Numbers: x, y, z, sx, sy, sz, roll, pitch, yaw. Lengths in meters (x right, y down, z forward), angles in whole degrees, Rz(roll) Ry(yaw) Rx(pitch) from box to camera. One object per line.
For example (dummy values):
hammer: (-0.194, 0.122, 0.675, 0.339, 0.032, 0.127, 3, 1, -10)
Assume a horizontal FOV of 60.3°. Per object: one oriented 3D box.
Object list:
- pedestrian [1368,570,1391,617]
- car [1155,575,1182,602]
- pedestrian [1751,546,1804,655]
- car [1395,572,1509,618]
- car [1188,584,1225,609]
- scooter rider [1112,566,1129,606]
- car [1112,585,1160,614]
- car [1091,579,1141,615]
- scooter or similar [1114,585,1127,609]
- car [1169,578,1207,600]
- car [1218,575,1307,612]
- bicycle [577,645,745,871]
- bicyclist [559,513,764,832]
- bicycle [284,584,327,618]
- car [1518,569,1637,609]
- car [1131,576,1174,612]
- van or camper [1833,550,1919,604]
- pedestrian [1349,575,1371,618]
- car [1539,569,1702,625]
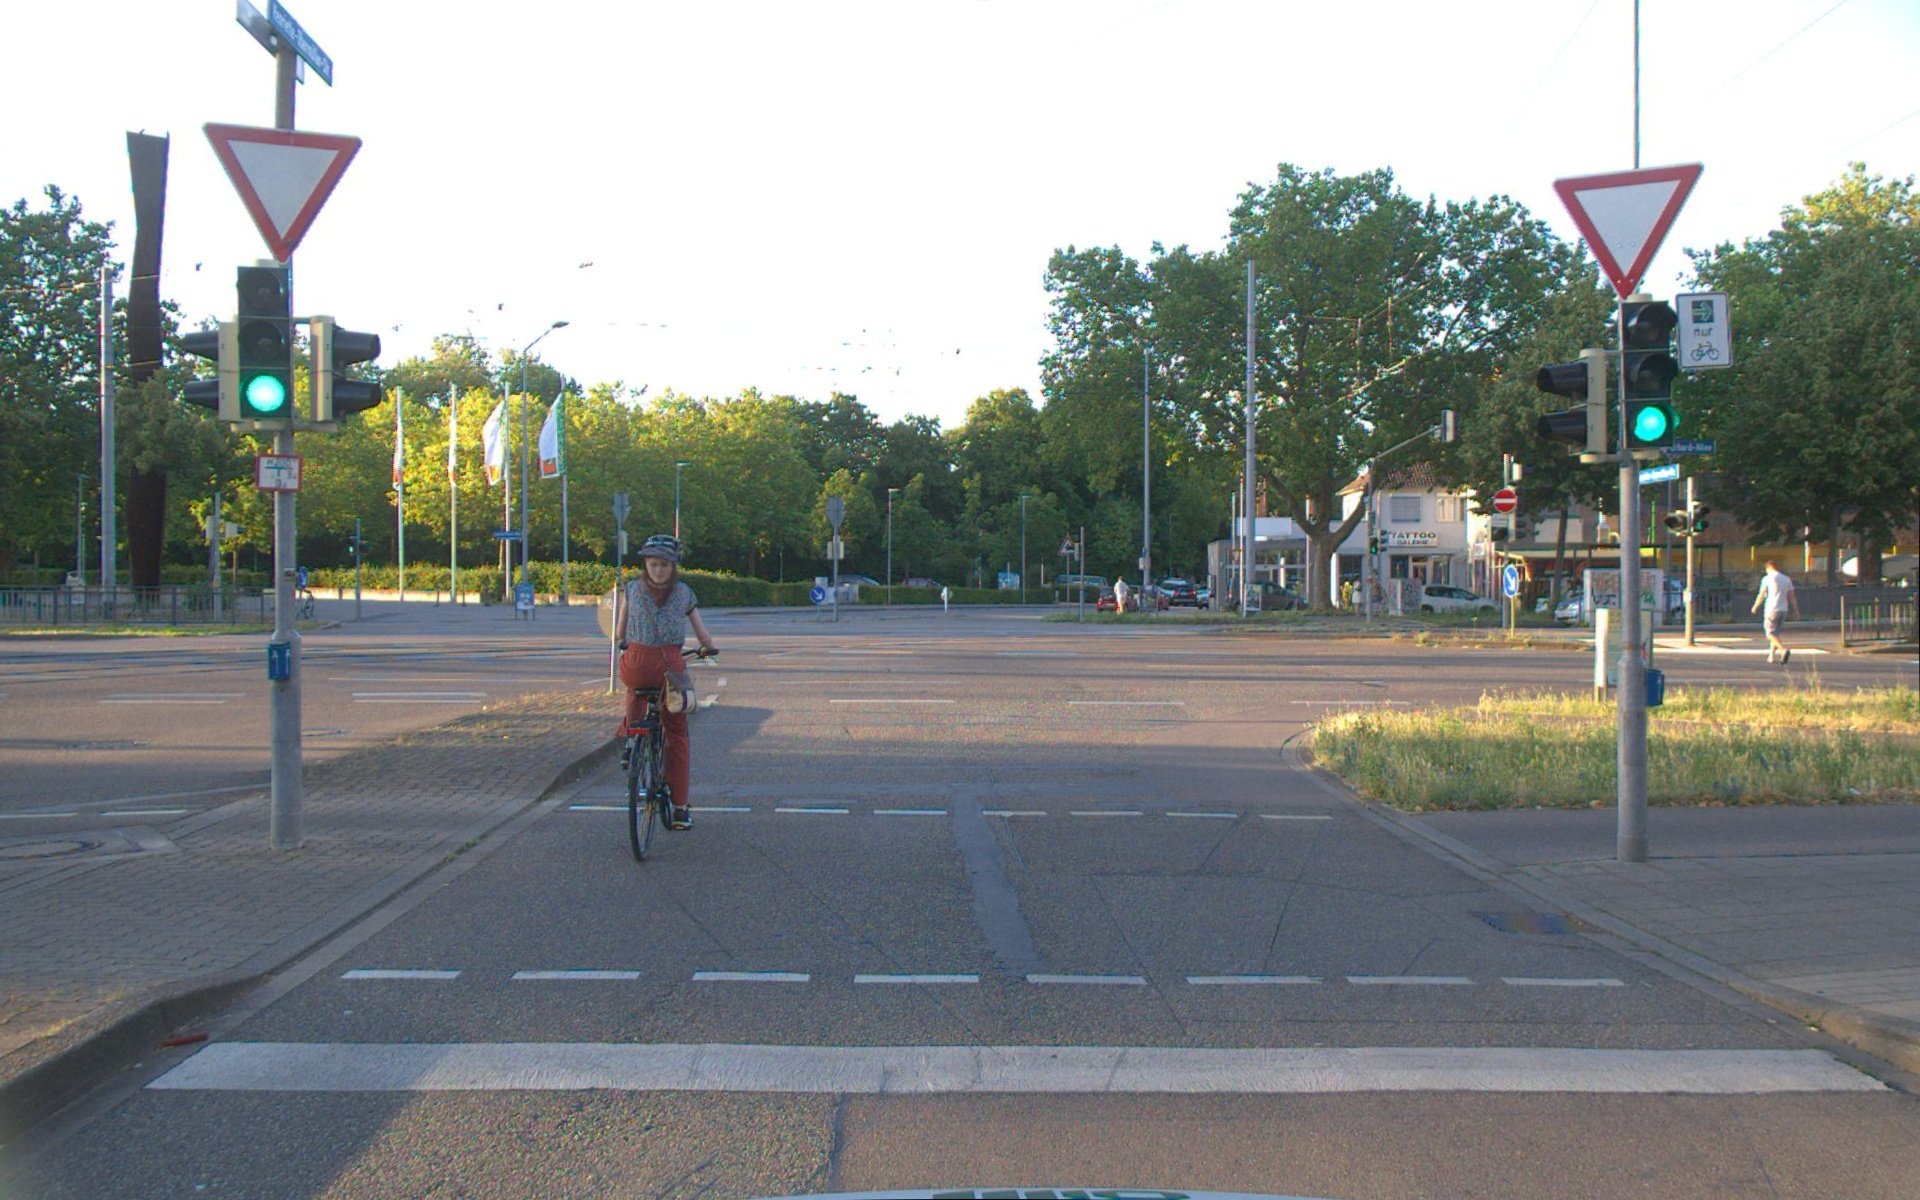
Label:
pedestrian: (16.064, -0.238, 63.285, 0.704, 1.785, 0.897, 0, 0, 23)
car: (15.955, -0.893, 126.726, 1.951, 2.049, 4.003, 0, 1, 6)
pedestrian: (13.945, -0.005, 28.212, 0.747, 1.822, 0.801, 1, 1, 29)
car: (20.202, -0.211, 68.082, 4.142, 1.878, 2.001, 0, 1, 2)
car: (16.527, -0.226, 110.908, 1.874, 1.630, 4.003, 0, 1, 17)
scooter rider: (7.462, -0.647, 76.813, 0.688, 1.887, 0.669, 0, 0, -1)
car: (10.122, -0.072, 94.958, 1.952, 1.601, 4.002, 0, 1, 19)
car: (8.603, -0.173, 91.127, 1.829, 1.907, 3.875, 0, 1, 20)
scooter or similar: (7.449, -0.140, 76.783, 0.499, 1.109, 1.243, 0, 1, -1)
car: (16.647, -0.774, 120.466, 1.719, 1.568, 4.400, 0, -1, 22)
car: (15.438, -0.319, 84.502, 4.285, 1.867, 1.950, 0, 1, 4)
bicycle: (-1.689, 0.847, 9.631, 0.621, 1.086, 2.122, 0, 1, -1)
bicyclist: (-1.693, 0.391, 9.556, 1.010, 1.748, 0.996, 0, 0, -1)
bicycle: (-23.026, 0.015, 58.216, 0.685, 1.156, 2.391, 0, 1, -3)
car: (25.180, -0.467, 67.538, 4.142, 1.605, 2.001, 0, 1, 2)
car: (11.503, -0.362, 98.795, 1.874, 2.083, 4.003, 0, 1, 17)
van or camper: (43.791, -1.034, 75.707, 6.426, 2.452, 2.265, 0, 0, 3)
pedestrian: (15.646, -0.161, 64.685, 0.704, 1.667, 0.897, 0, 0, 23)
car: (20.918, -0.106, 52.483, 4.445, 1.758, 1.860, 0, 1, -5)
